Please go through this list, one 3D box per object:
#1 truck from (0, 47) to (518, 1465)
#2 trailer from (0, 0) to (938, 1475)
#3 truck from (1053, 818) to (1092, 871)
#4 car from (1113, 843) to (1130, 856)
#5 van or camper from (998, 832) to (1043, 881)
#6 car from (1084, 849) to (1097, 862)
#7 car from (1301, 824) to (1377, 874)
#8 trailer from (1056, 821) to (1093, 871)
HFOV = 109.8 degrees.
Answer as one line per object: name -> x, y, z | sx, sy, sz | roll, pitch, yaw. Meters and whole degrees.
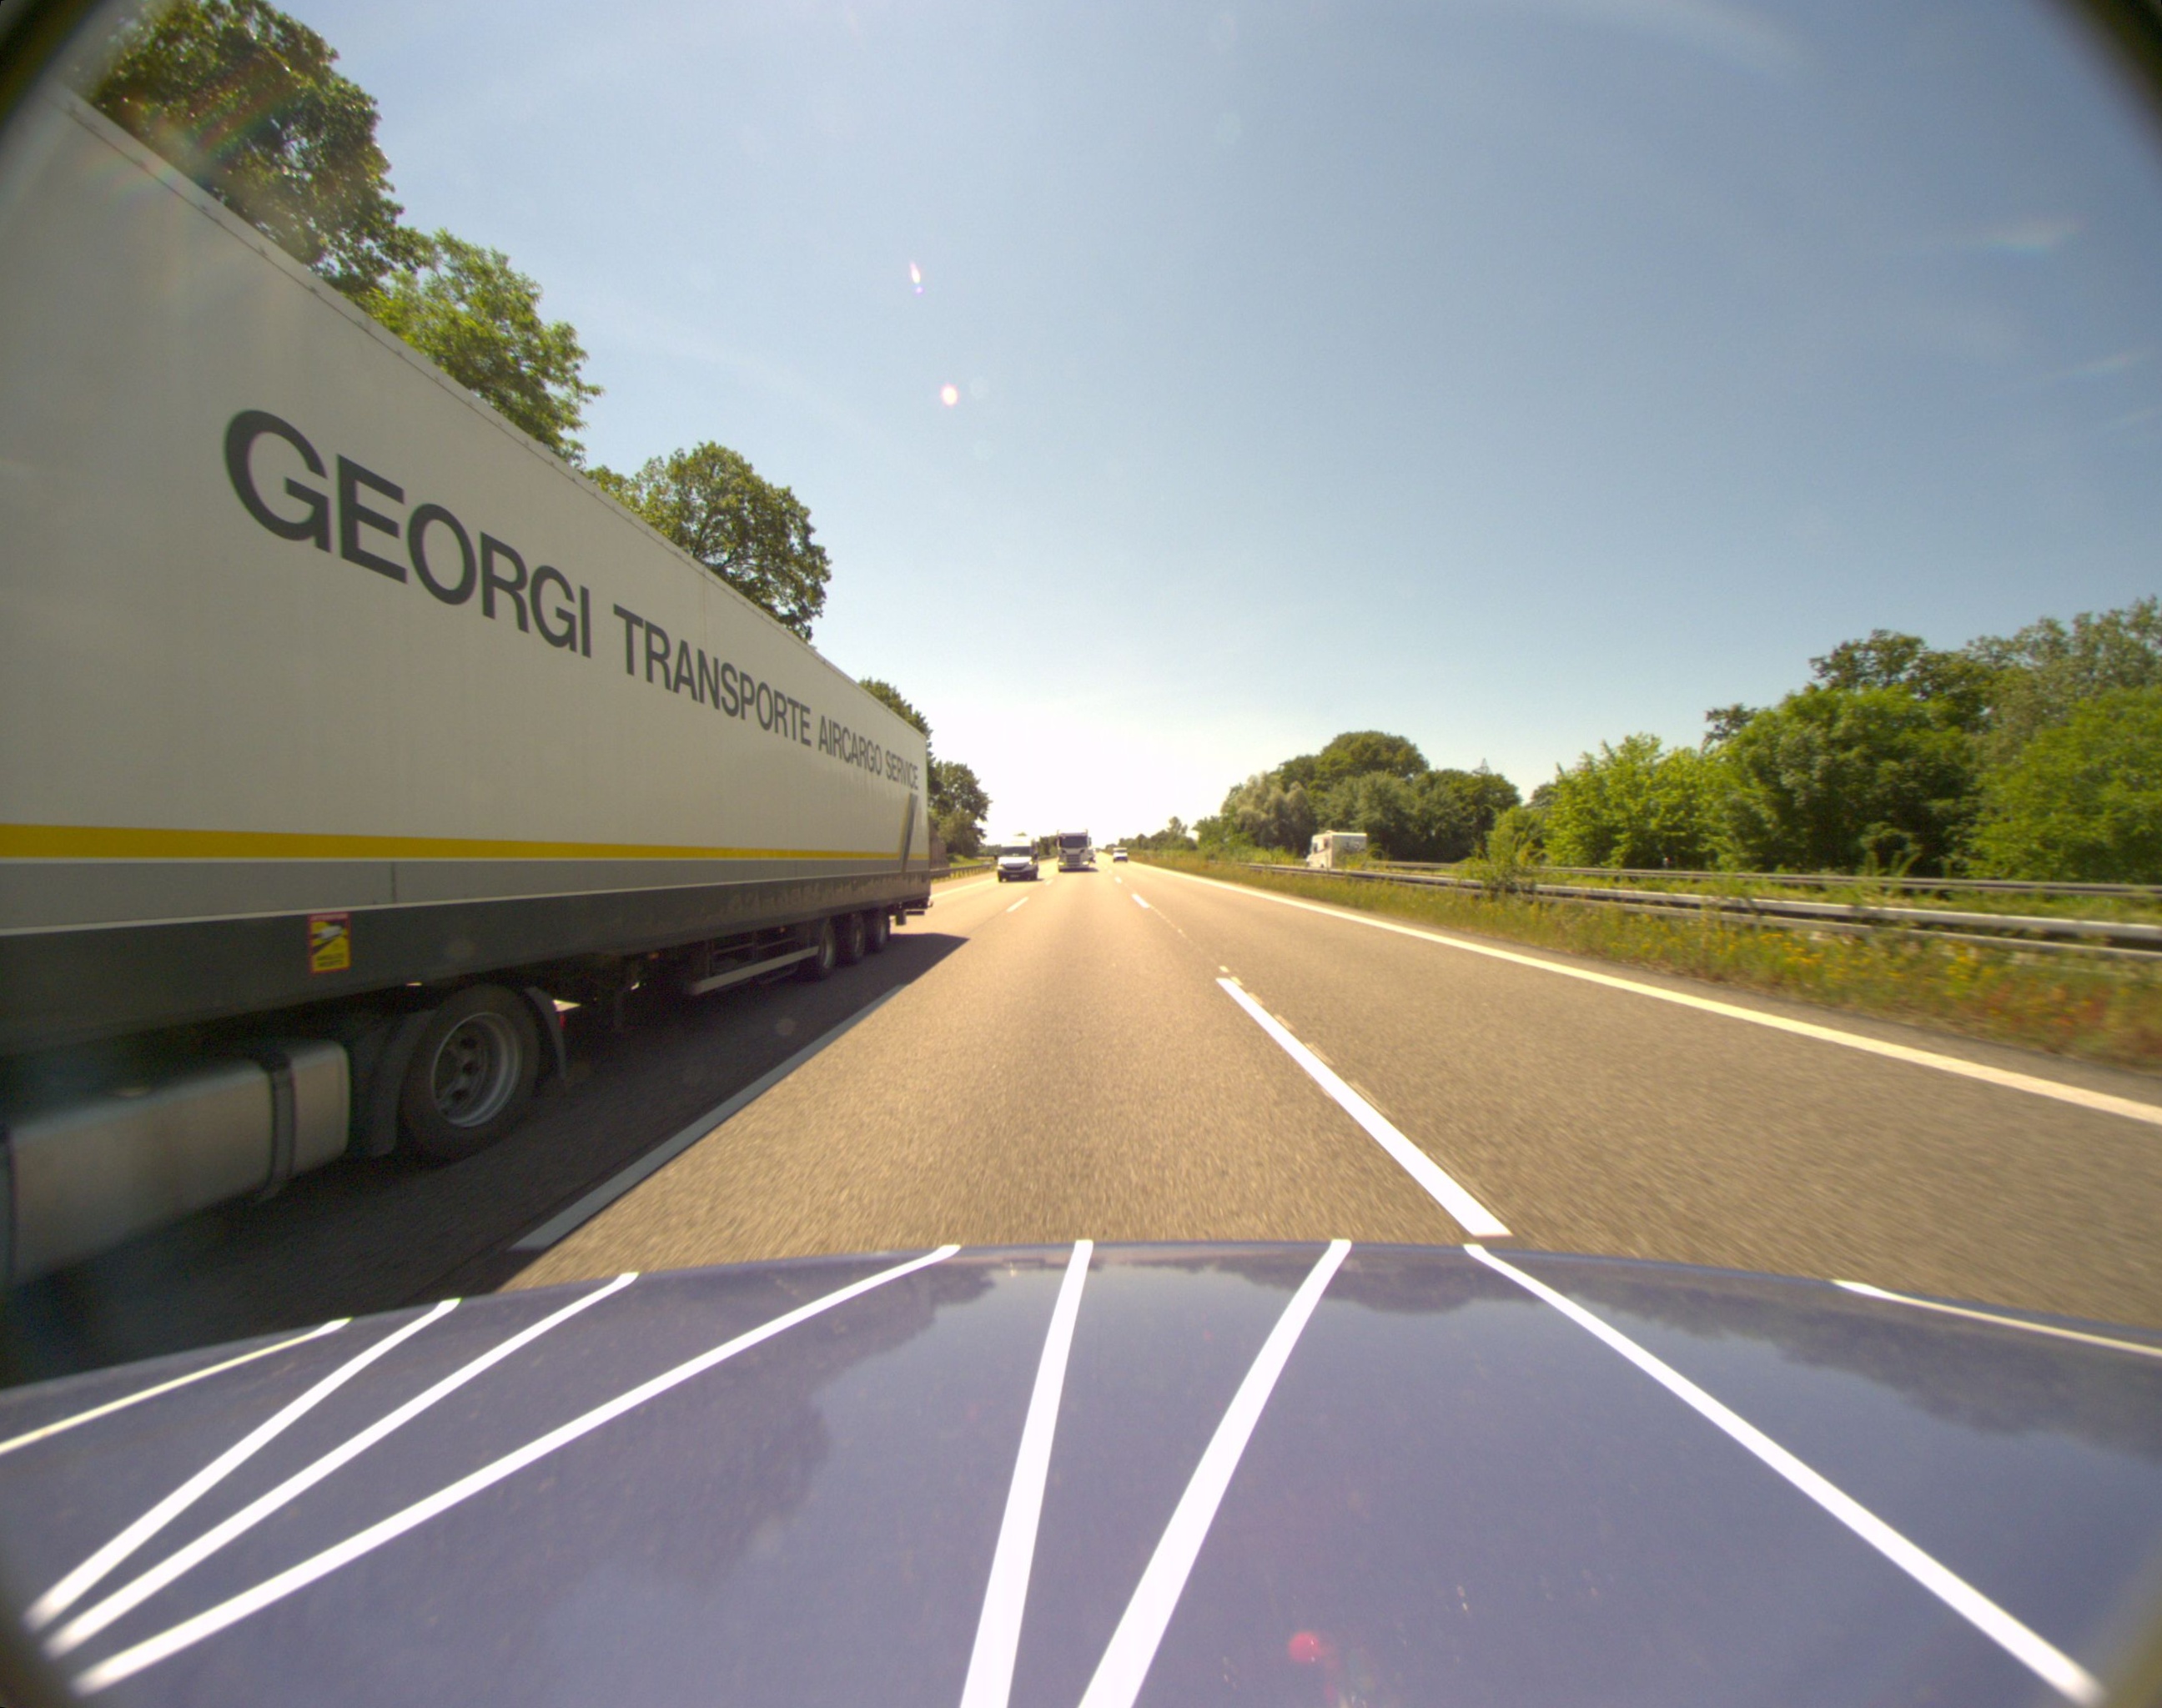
truck -> -4.632, -0.269, 1.453 | 3.010, 4.101, 5.252 | -1, 1, 1
trailer -> -4.541, -0.389, 8.627 | 3.001, 4.264, 13.416 | -2, 1, 1
truck -> -0.583, -0.785, 62.623 | 2.896, 4.007, 6.869 | -2, 1, 1
car -> 5.667, -0.652, 106.101 | 2.147, 1.810, 5.267 | -1, 1, 1
van or camper -> -3.541, 0.113, 45.451 | 2.027, 2.622, 6.486 | -2, 1, 0
car -> 1.302, 0.152, 106.005 | 1.796, 1.696, 4.000 | -1, 1, 1
car -> 16.742, -0.316, 49.924 | 2.553, 2.965, 8.085 | -1, 0, 3
trailer -> -0.518, -0.724, 66.909 | 2.927, 4.018, 7.316 | -2, 1, 1
